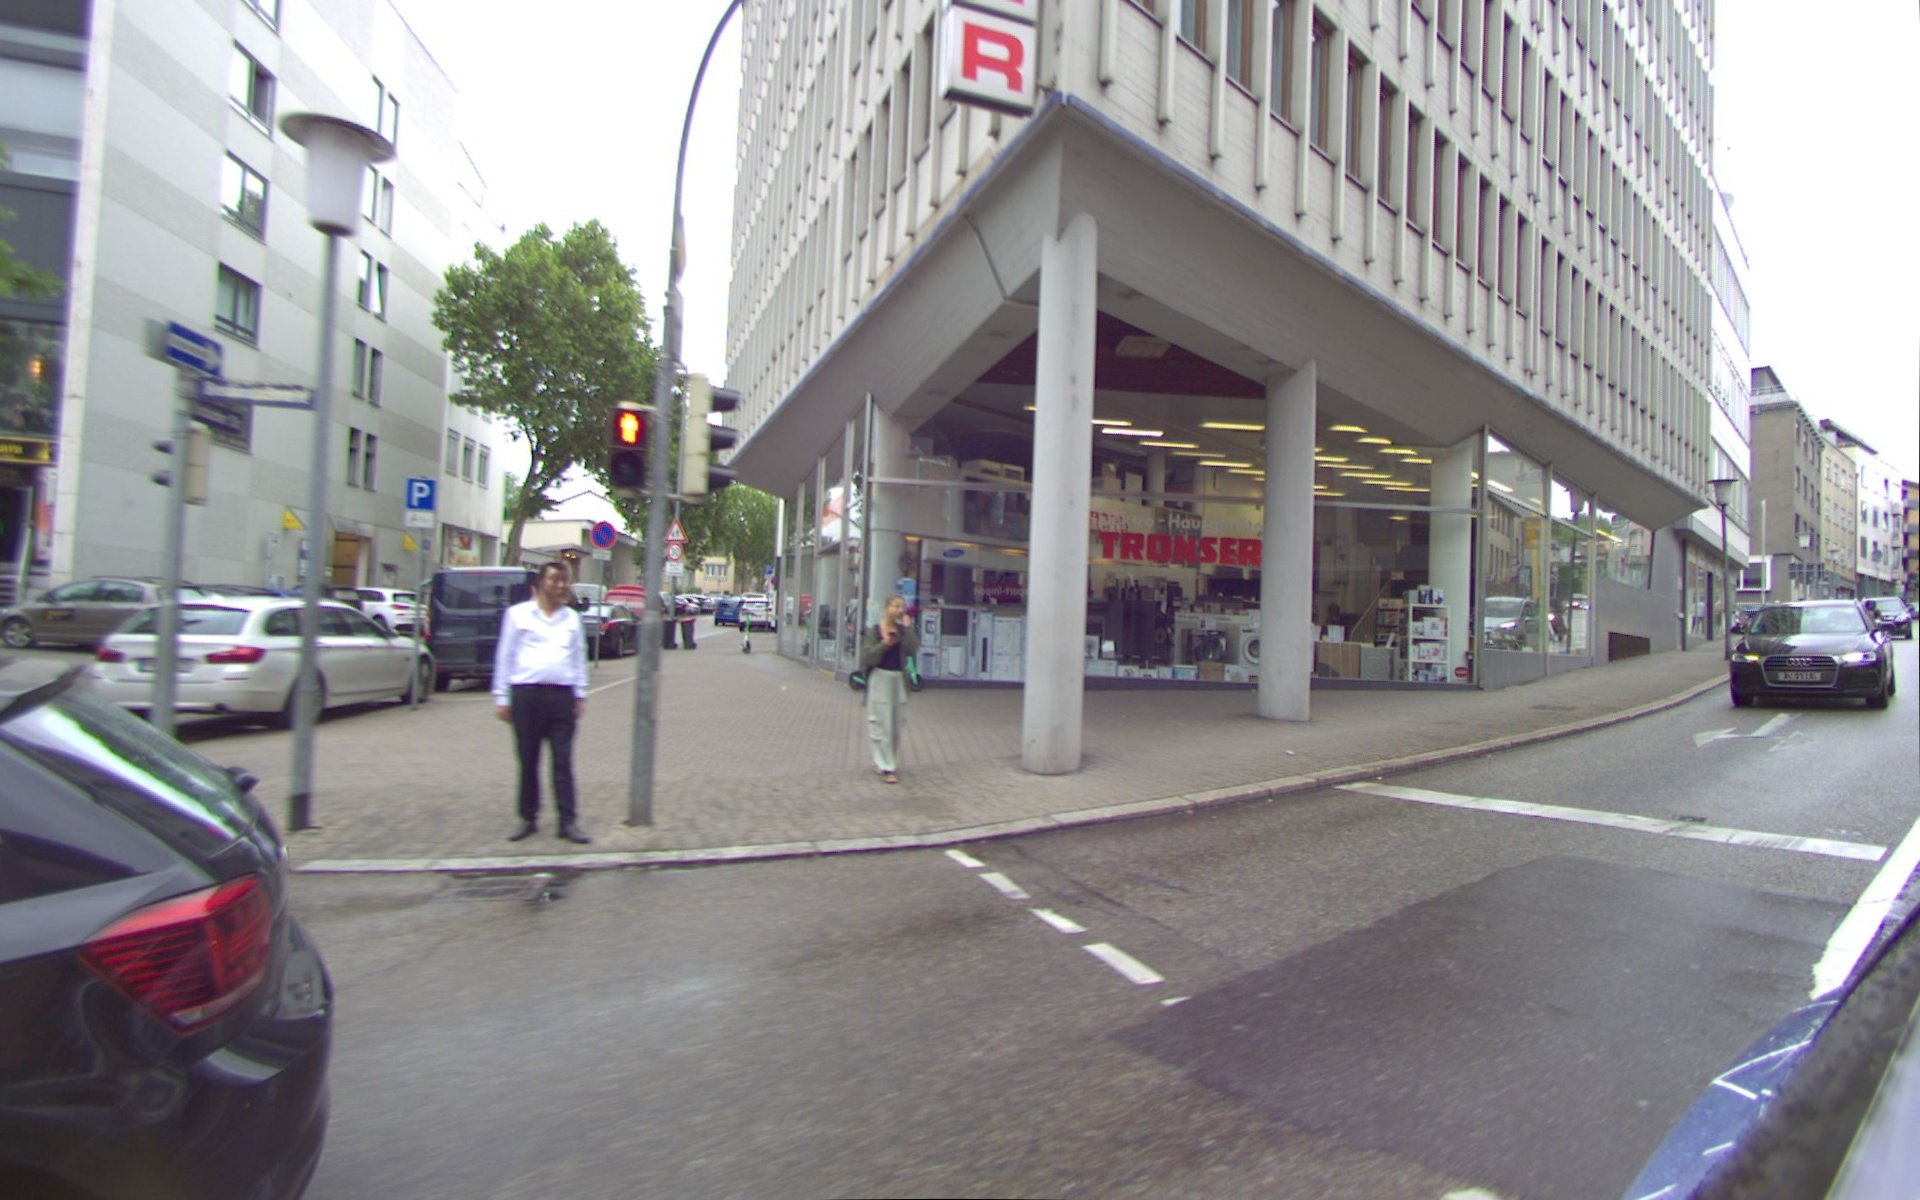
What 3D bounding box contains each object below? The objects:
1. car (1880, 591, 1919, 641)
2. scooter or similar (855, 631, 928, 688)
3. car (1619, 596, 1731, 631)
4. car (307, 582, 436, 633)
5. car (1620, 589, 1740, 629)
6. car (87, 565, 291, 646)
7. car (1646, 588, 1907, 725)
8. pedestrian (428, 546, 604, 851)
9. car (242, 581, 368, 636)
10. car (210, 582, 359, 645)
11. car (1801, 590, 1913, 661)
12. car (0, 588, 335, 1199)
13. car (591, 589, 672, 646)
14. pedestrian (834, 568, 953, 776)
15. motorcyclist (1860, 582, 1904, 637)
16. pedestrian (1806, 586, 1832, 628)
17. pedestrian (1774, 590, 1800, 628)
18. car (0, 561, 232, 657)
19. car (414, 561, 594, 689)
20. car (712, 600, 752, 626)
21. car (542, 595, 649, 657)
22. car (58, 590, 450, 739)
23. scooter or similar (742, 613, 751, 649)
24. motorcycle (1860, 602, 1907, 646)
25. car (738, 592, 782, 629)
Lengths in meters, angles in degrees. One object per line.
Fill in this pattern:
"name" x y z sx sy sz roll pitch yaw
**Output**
"car" 38.031 0.625 40.369 1.842 1.928 3.710 0 0 41
"scooter or similar" -1.043 0.907 15.452 1.104 0.835 0.308 1 -1 -3
"car" 32.759 0.599 46.503 3.964 1.549 1.745 0 0 29
"car" -19.134 0.218 32.927 3.640 1.573 1.618 0 0 18
"car" 31.234 0.355 44.036 3.964 1.468 1.781 4 2 28
"car" -18.181 0.100 23.916 3.780 1.572 1.624 4 1 9
"car" 11.269 0.682 13.881 4.125 1.580 1.827 -1 -2 -38
"pedestrian" -2.898 0.574 6.626 0.720 1.840 0.818 2 2 38
"car" -19.968 0.225 30.833 3.652 1.573 1.613 0 0 26
"car" -18.054 0.324 27.055 3.647 1.573 1.615 0 0 23
"car" 21.913 0.607 24.827 1.823 1.561 4.189 -5 -3 41
"car" -3.160 0.717 1.201 3.928 1.496 1.692 1 -1 -39
"car" -10.850 0.518 33.713 1.849 1.786 4.005 0 0 -7
"pedestrian" -0.591 0.586 8.840 0.813 1.710 0.725 0 2 -24
"motorcyclist" 27.985 0.282 30.732 0.843 1.610 0.949 -4 -3 39
"pedestrian" 36.291 0.275 42.755 0.783 1.726 1.104 3 2 41
"pedestrian" 34.690 0.369 42.434 0.765 1.570 0.877 3 2 41
"car" -17.771 0.178 21.166 3.864 1.656 1.627 4 -1 1
"car" -8.077 0.370 18.427 1.920 2.023 4.815 0 0 -11
"car" -13.581 0.748 60.547 1.959 1.513 4.005 0 0 -7
"car" -9.617 0.631 26.987 1.805 1.513 4.141 0 0 -7
"car" -8.412 0.656 12.749 1.820 1.513 4.855 0 0 -4
"scooter or similar" -6.082 0.880 28.836 0.215 1.012 0.816 1 0 -12
"motorcycle" 27.988 0.713 30.706 0.843 1.242 2.339 -4 -3 39
"car" -10.219 0.493 51.940 1.959 1.803 4.005 0 0 -7
